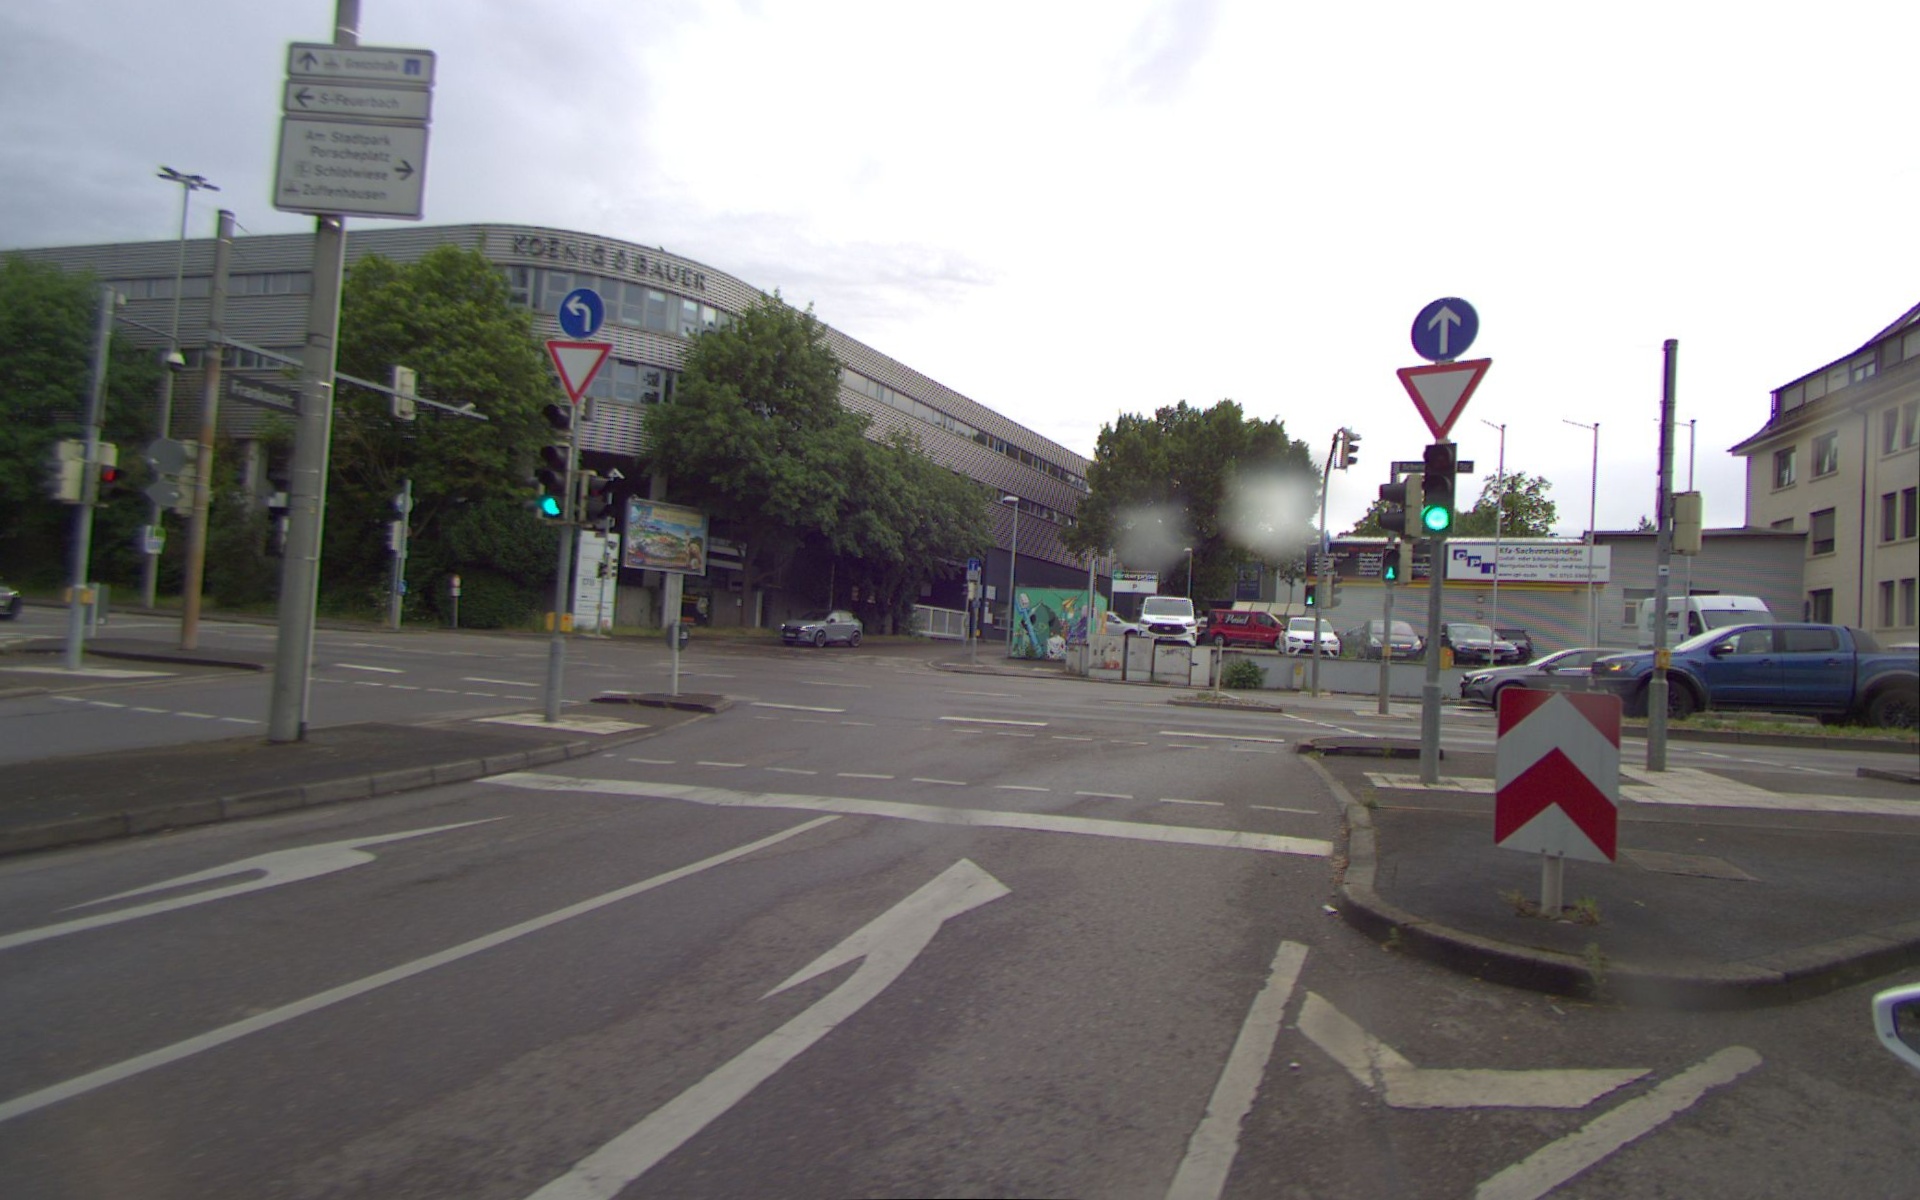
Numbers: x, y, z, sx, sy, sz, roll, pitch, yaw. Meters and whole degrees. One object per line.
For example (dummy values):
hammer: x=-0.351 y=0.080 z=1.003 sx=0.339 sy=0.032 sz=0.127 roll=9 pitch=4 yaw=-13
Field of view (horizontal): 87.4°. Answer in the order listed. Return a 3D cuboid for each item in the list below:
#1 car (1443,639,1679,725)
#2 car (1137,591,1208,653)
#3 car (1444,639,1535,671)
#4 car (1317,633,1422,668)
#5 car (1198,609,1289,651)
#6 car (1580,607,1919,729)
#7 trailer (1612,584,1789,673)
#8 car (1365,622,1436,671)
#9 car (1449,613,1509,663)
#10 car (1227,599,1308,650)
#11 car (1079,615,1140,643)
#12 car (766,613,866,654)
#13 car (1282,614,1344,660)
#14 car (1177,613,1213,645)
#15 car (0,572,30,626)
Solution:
car: x=12.562 y=1.700 z=21.250 sx=3.989 sy=1.477 sz=1.548 roll=3 pitch=-3 yaw=18
car: x=7.423 y=0.862 z=35.385 sx=2.175 sy=1.825 sz=5.378 roll=3 pitch=-3 yaw=11
car: x=22.727 y=2.360 z=43.139 sx=3.354 sy=1.122 sz=1.321 roll=2 pitch=-3 yaw=32
car: x=18.428 y=2.256 z=45.262 sx=4.263 sy=1.424 sz=1.371 roll=0 pitch=-4 yaw=30
car: x=14.759 y=1.545 z=52.302 sx=4.229 sy=1.884 sz=1.740 roll=2 pitch=-3 yaw=25
car: x=13.959 y=1.163 z=17.481 sx=5.068 sy=1.842 sz=1.941 roll=1 pitch=-4 yaw=19
trailer: x=23.738 y=1.056 z=32.633 sx=2.347 sy=2.459 sz=7.126 roll=3 pitch=-3 yaw=17
car: x=13.930 y=1.445 z=31.934 sx=1.707 sy=1.387 sz=3.624 roll=2 pitch=-1 yaw=18
car: x=16.176 y=1.154 z=31.384 sx=1.203 sy=1.443 sz=2.687 roll=2 pitch=0 yaw=18
car: x=16.821 y=1.339 z=54.992 sx=3.912 sy=2.530 sz=1.653 roll=2 pitch=-3 yaw=26
car: x=6.959 y=1.362 z=46.760 sx=2.667 sy=1.119 sz=1.199 roll=3 pitch=-3 yaw=14
car: x=-6.199 y=1.456 z=43.690 sx=1.998 sy=1.621 sz=4.373 roll=2 pitch=-1 yaw=31
car: x=11.867 y=1.233 z=33.899 sx=1.836 sy=1.387 sz=3.624 roll=2 pitch=-1 yaw=18
car: x=13.323 y=1.655 z=56.853 sx=1.486 sy=1.587 sz=3.487 roll=3 pitch=-3 yaw=21
car: x=-25.163 y=-0.089 z=25.273 sx=3.690 sy=1.276 sz=1.594 roll=3 pitch=0 yaw=31
